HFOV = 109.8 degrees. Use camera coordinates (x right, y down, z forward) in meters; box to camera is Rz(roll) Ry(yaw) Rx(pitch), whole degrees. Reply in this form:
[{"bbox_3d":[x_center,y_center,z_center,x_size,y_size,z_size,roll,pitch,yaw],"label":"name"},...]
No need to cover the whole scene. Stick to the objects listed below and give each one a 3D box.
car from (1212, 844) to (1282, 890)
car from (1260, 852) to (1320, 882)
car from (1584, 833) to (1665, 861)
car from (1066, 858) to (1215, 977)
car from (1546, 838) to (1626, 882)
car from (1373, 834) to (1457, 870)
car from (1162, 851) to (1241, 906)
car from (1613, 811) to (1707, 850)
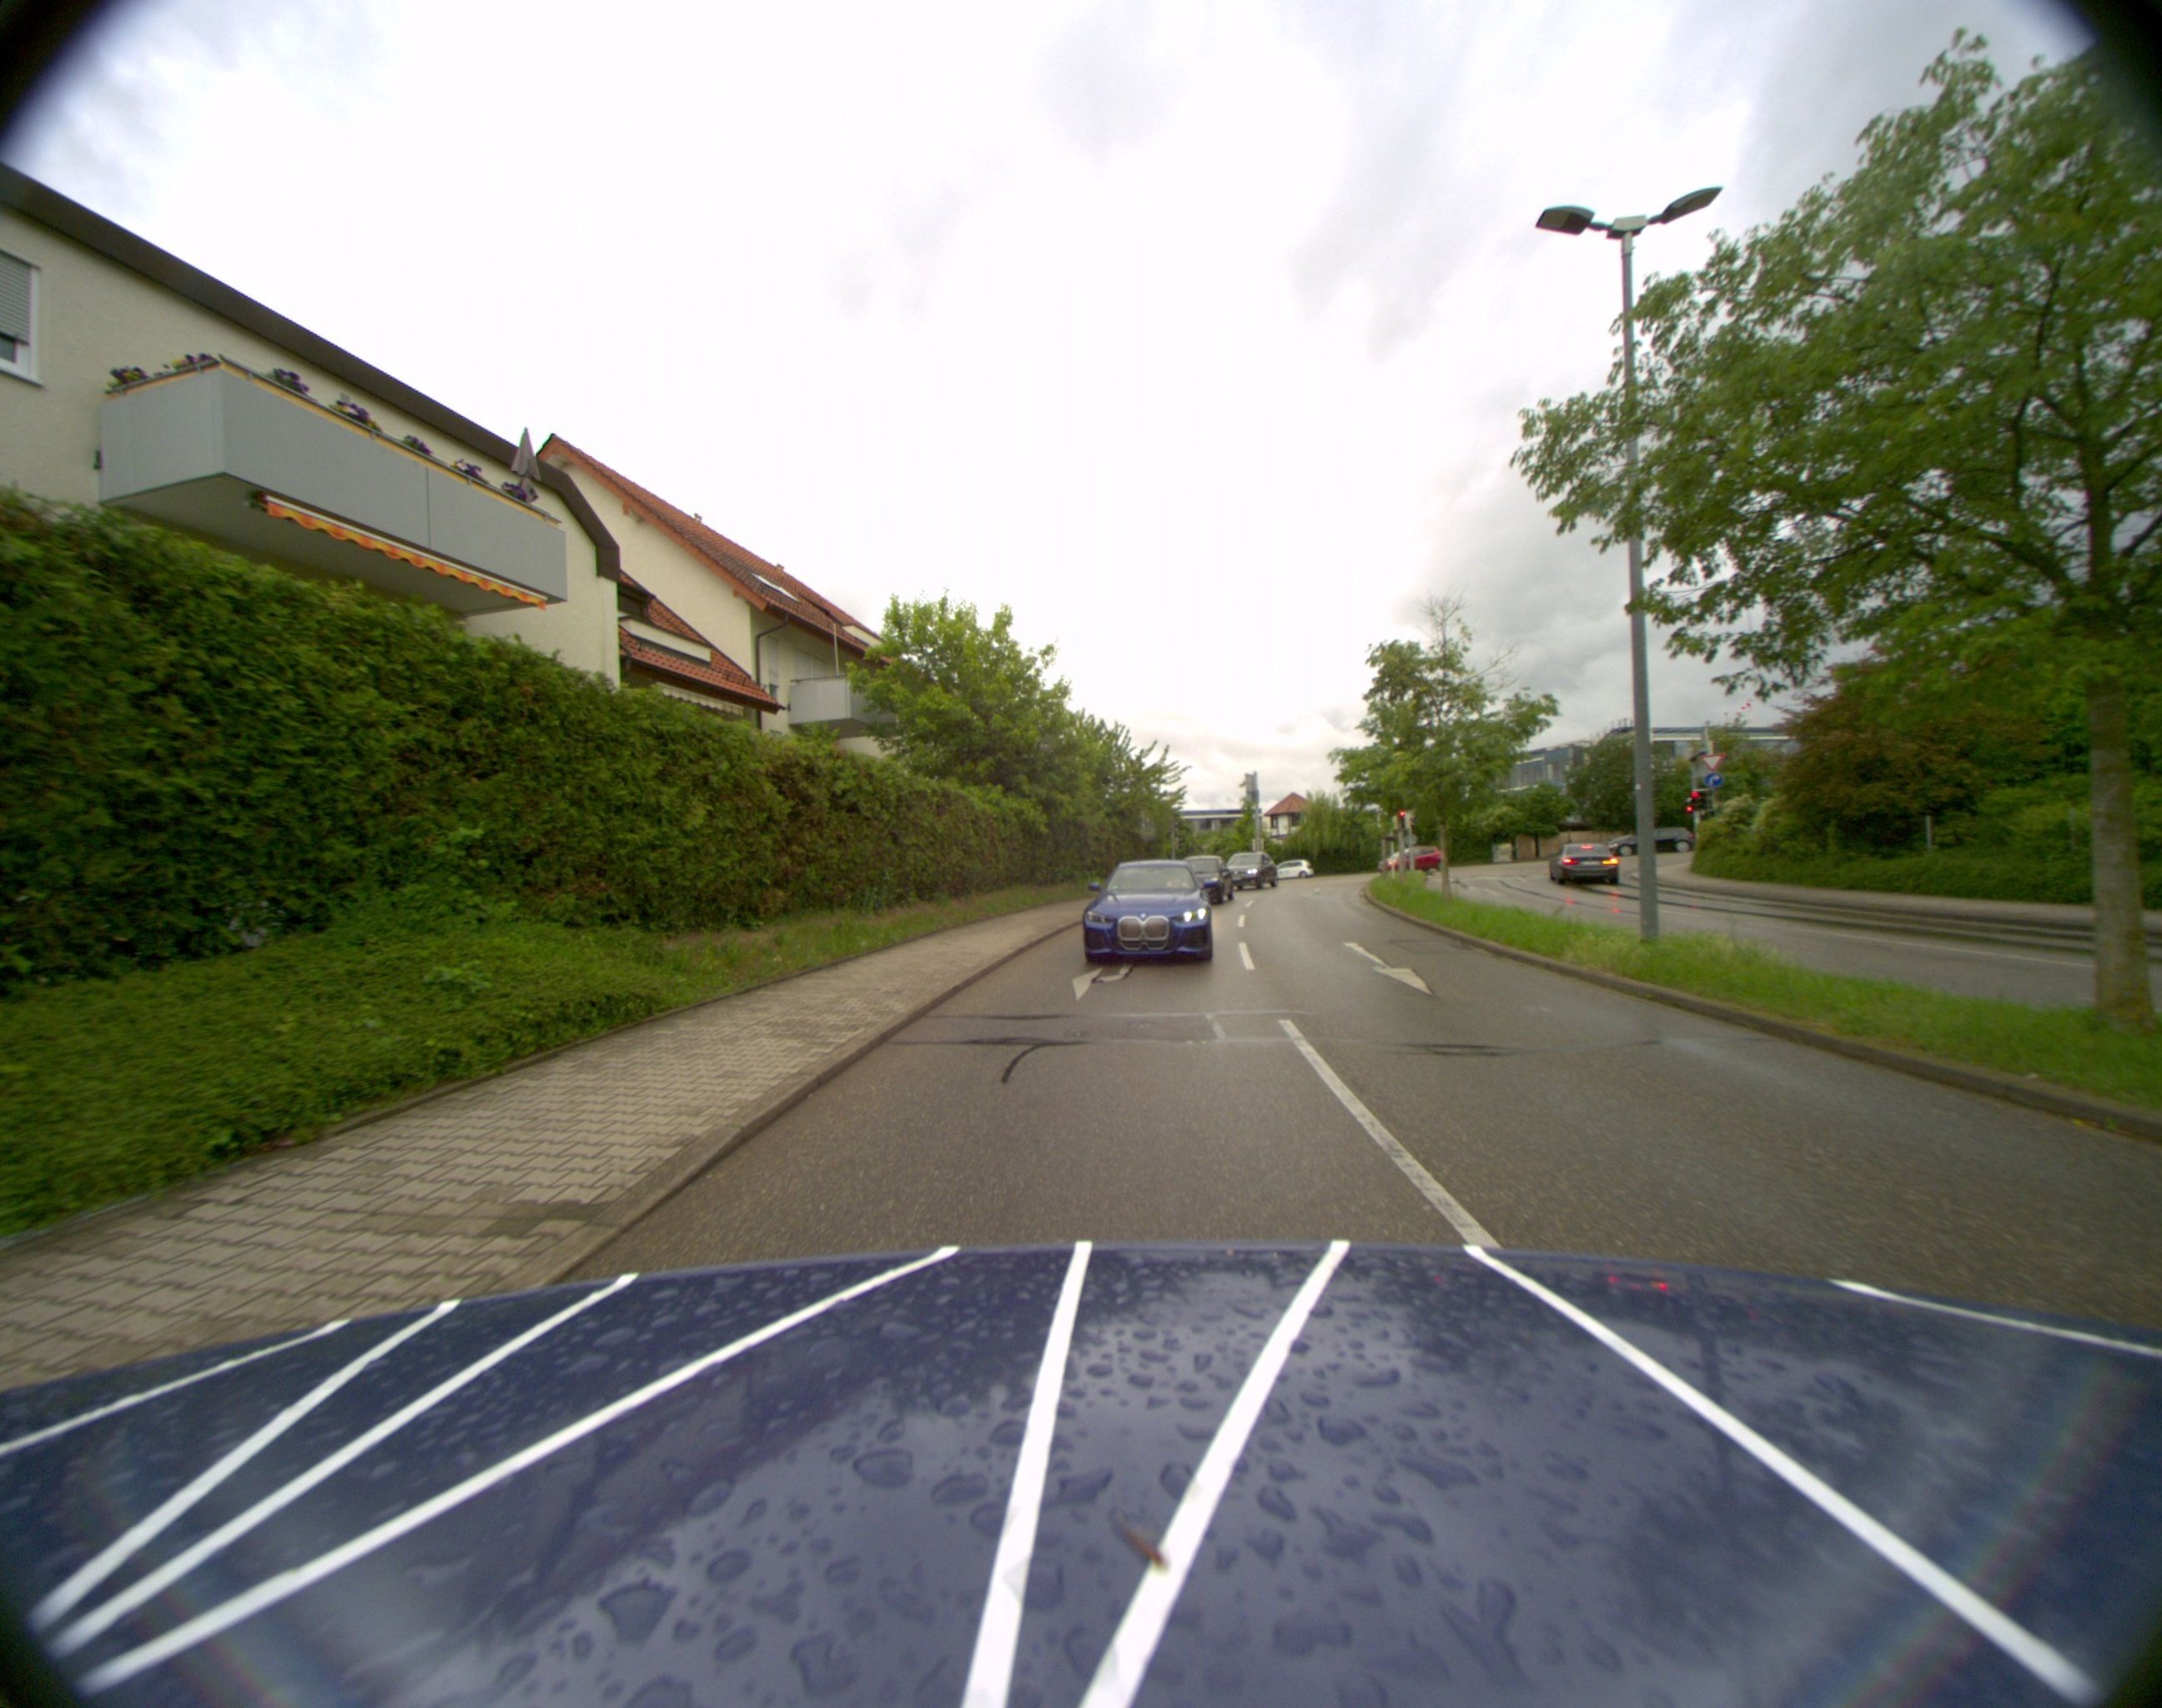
[{"bbox_3d":[7.481,0.568,33.866,1.965,1.739,4.315,-6,-3,25],"label":"car"},{"bbox_3d":[16.398,1.029,59.712,3.991,2.001,2.004,-6,-3,30],"label":"car"},{"bbox_3d":[34.849,-0.440,48.874,3.990,1.661,2.003,-2,0,29],"label":"car"},{"bbox_3d":[1.153,0.870,12.255,1.912,1.487,4.352,-3,0,10],"label":"car"},{"bbox_3d":[18.328,0.221,27.760,1.995,1.429,4.557,-2,-1,28],"label":"car"},{"bbox_3d":[19.457,-0.094,44.389,4.000,1.715,1.868,-4,-2,-10],"label":"car"},{"bbox_3d":[4.013,0.777,24.788,1.744,1.509,4.006,-6,-3,19],"label":"car"},{"bbox_3d":[32.595,-1.280,42.931,3.991,1.715,1.873,-6,-3,33],"label":"car"}]
